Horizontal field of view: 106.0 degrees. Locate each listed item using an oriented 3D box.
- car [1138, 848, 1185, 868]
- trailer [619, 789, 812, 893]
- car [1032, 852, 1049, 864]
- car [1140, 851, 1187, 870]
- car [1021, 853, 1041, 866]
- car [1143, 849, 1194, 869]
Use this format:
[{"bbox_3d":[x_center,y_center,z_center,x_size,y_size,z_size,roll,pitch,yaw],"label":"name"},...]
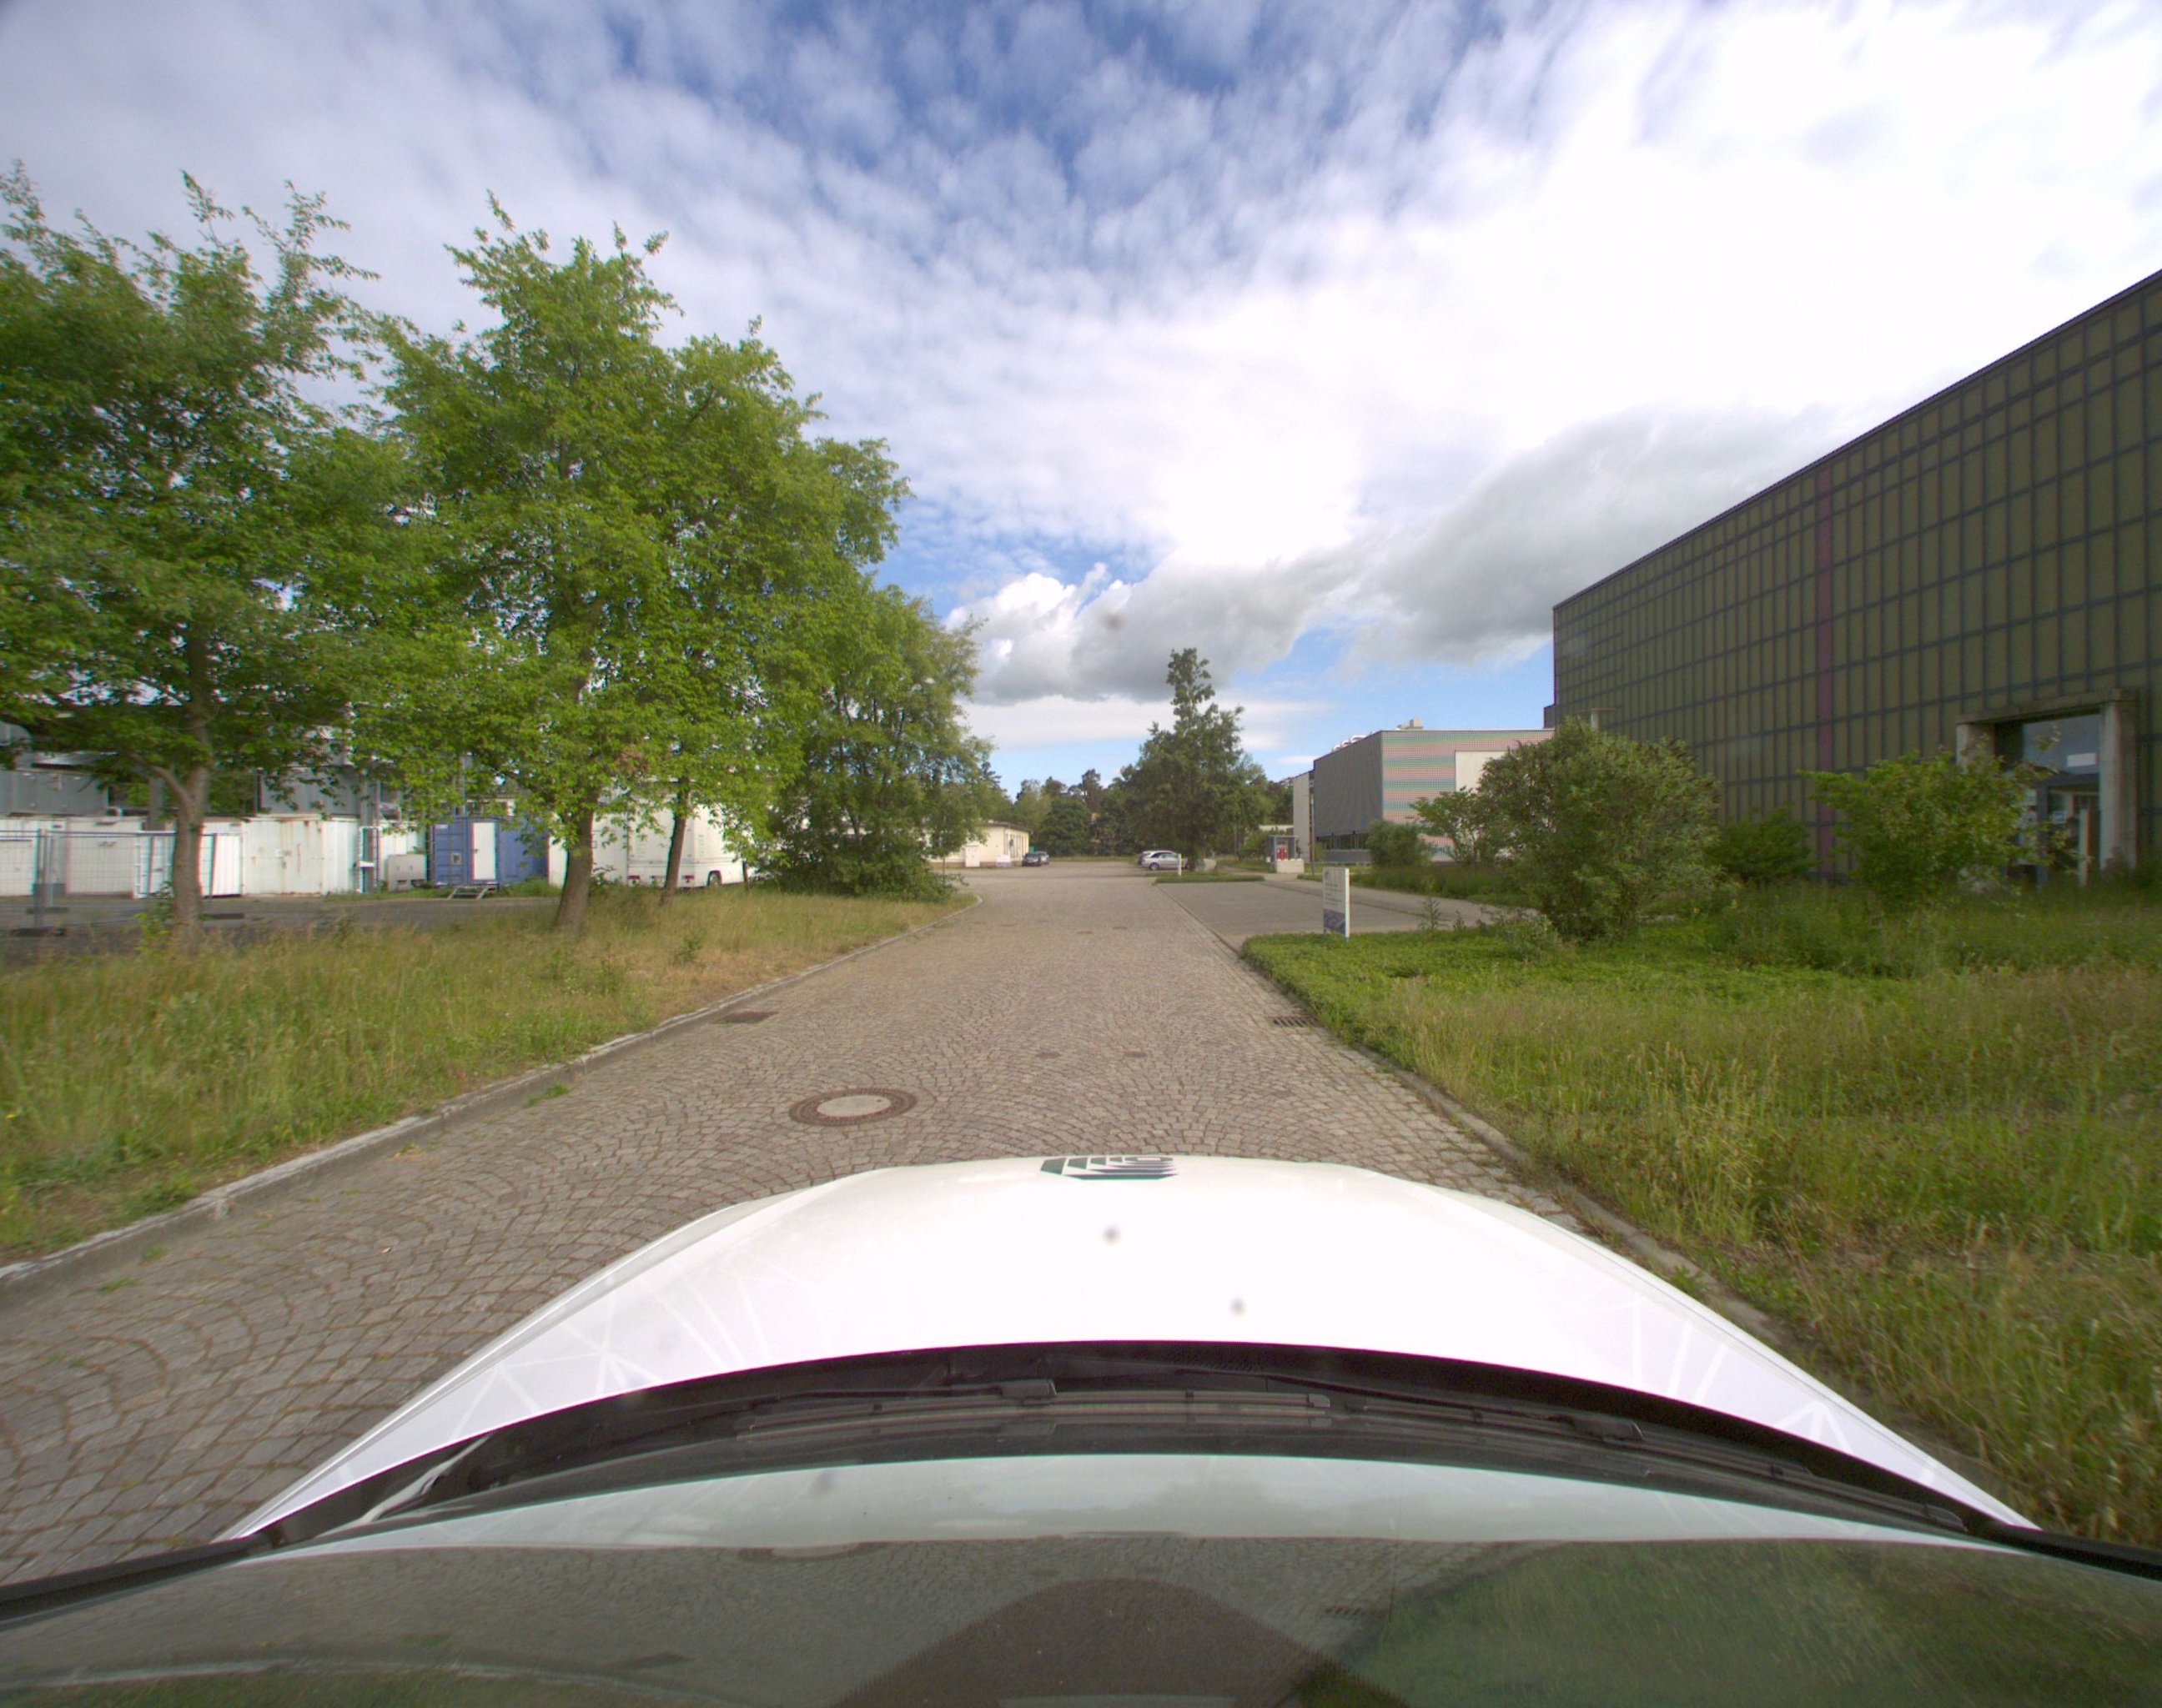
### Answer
[{"bbox_3d":[6.970,0.341,70.769,3.969,1.475,1.654,-2,0,2],"label":"car"},{"bbox_3d":[-14.360,-0.450,33.328,2.613,3.598,10.189,0,0,4],"label":"trailer"},{"bbox_3d":[-4.670,0.461,95.172,1.641,1.458,4.000,0,0,2],"label":"car"},{"bbox_3d":[6.377,0.489,62.951,3.508,1.362,1.623,-2,0,2],"label":"car"},{"bbox_3d":[-5.164,0.563,84.833,1.641,1.369,4.000,0,0,2],"label":"car"},{"bbox_3d":[7.043,0.410,65.630,3.969,1.448,1.654,-2,0,2],"label":"car"}]
